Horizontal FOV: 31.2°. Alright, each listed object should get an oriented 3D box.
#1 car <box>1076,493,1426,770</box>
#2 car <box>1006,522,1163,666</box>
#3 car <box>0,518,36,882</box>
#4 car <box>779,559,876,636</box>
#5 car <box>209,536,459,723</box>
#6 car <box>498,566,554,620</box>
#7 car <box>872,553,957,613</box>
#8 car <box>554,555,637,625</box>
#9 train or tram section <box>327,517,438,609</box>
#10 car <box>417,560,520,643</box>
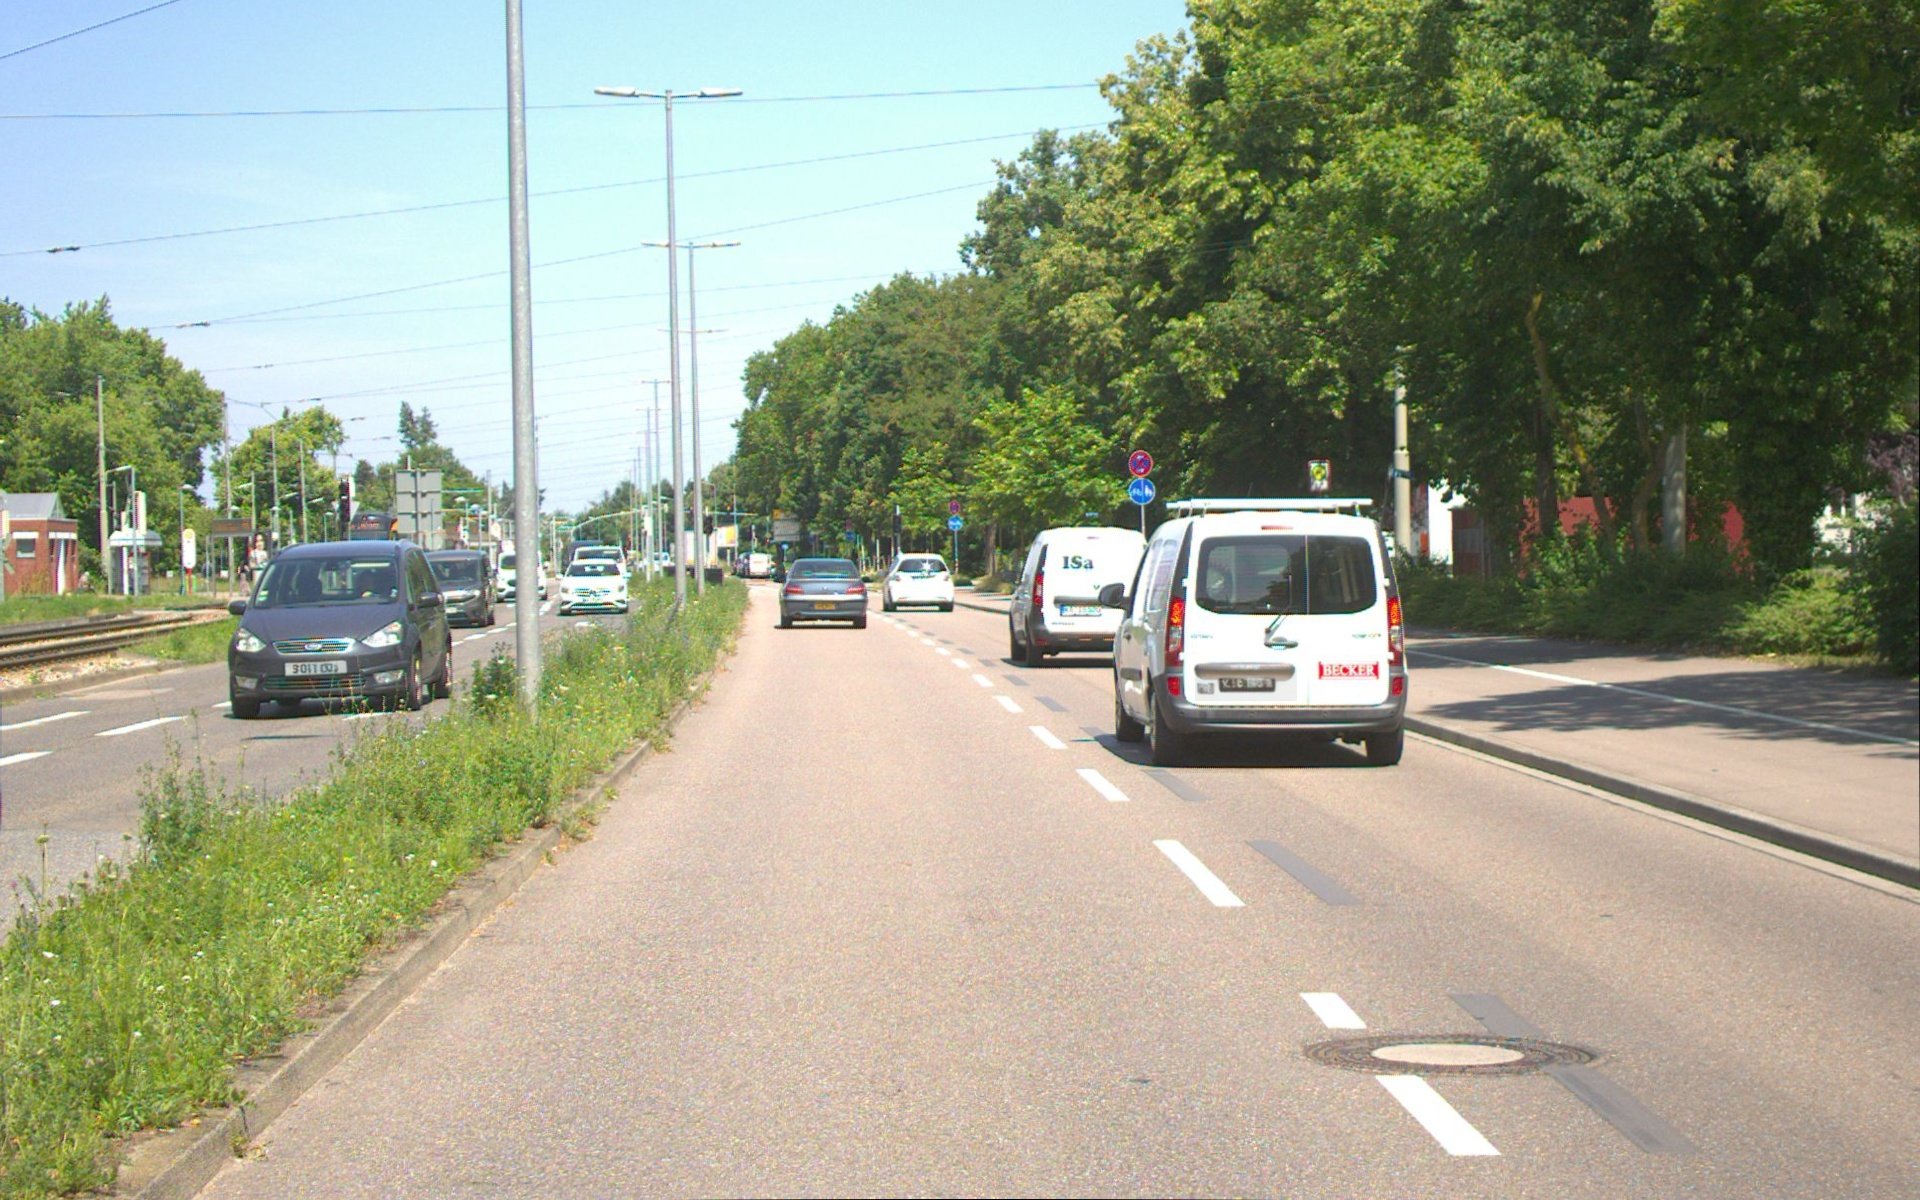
[{"bbox_3d":[2.050,0.199,25.522,1.824,1.875,4.456,0,0,-5],"label":"car"},{"bbox_3d":[1.604,-0.103,45.402,1.727,1.807,4.001,0,1,-3],"label":"car"},{"bbox_3d":[-5.476,0.530,14.977,1.829,1.750,4.489,-2,1,-3],"label":"car"},{"bbox_3d":[-2.685,-0.066,68.927,1.801,1.481,4.001,0,1,-4],"label":"car"},{"bbox_3d":[-6.292,0.253,35.040,1.829,1.707,4.794,-2,1,-3],"label":"car"},{"bbox_3d":[-17.157,-0.290,136.098,1.888,2.011,5.083,-3,1,-5],"label":"car"},{"bbox_3d":[-1.214,-0.452,90.566,1.803,1.534,4.001,-1,0,-7],"label":"car"},{"bbox_3d":[-9.707,-0.284,91.790,1.830,1.733,4.038,-2,1,-2],"label":"car"},{"bbox_3d":[-26.099,-1.608,157.061,2.787,3.655,37.525,-1,0,-6],"label":"train or tram section"},{"bbox_3d":[-11.465,0.008,80.511,1.830,1.795,4.615,-2,1,-2],"label":"car"}]
